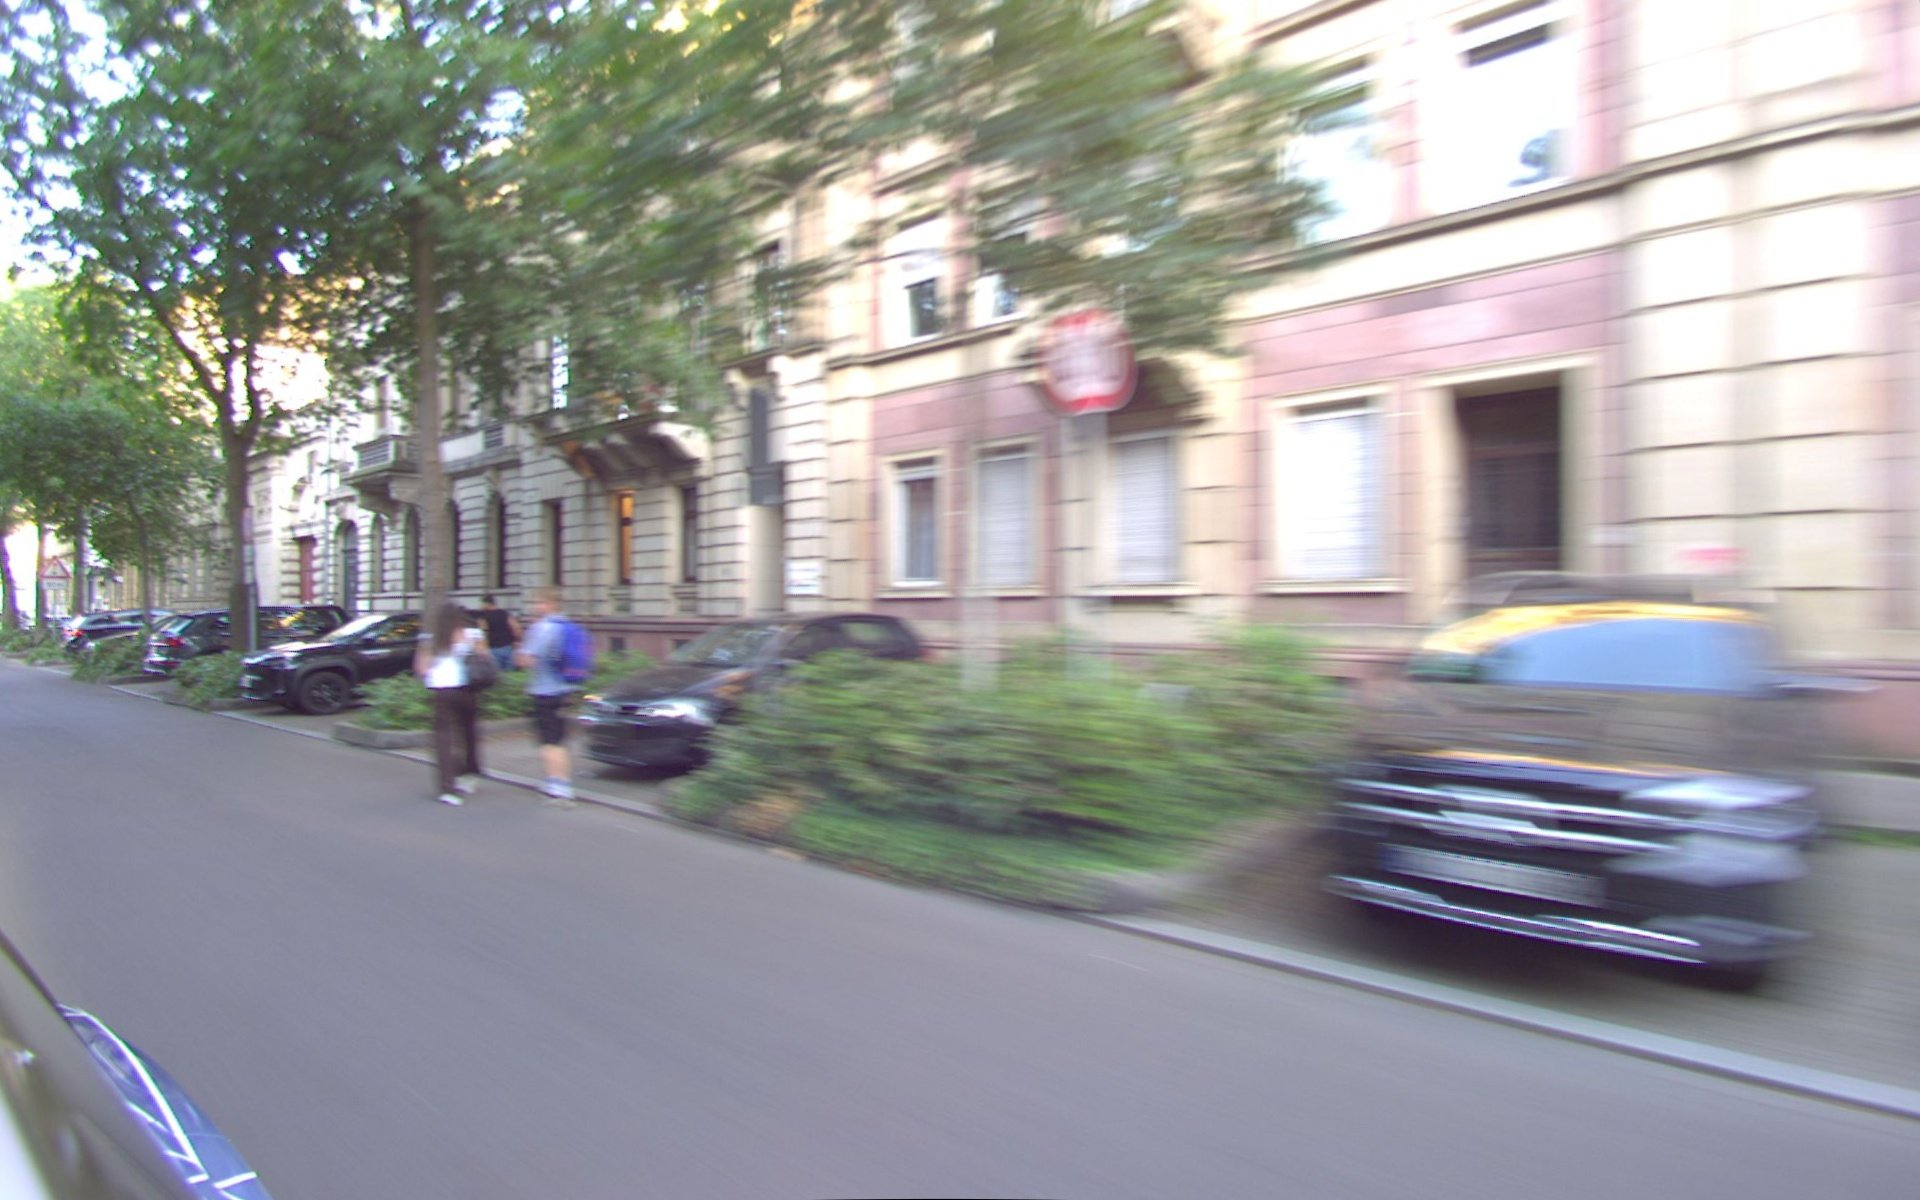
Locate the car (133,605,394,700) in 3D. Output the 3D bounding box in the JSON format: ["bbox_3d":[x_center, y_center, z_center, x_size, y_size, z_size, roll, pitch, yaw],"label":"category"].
[{"bbox_3d":[-14.444,1.012,21.161,1.906,1.684,4.157,-2,0,41],"label":"car"}]

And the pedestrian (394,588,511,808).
[{"bbox_3d":[-4.138,0.763,8.292,0.783,1.683,0.834,1,-2,-25],"label":"pedestrian"}]

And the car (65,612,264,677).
[{"bbox_3d":[-21.277,1.152,27.171,1.764,1.397,3.923,-2,1,42],"label":"car"}]

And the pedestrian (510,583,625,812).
[{"bbox_3d":[-3.219,0.759,8.275,0.783,1.750,0.834,1,-2,-25],"label":"pedestrian"}]

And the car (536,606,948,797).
[{"bbox_3d":[-2.028,0.848,10.167,1.871,1.469,3.654,-2,0,40],"label":"car"}]

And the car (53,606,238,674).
[{"bbox_3d":[-23.778,1.106,29.642,1.780,1.608,3.925,-1,3,41],"label":"car"}]

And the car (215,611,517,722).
[{"bbox_3d":[-9.598,0.974,16.543,1.908,1.544,3.902,-1,0,43],"label":"car"}]

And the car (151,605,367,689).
[{"bbox_3d":[-16.021,1.013,23.275,1.713,1.684,3.762,-2,0,40],"label":"car"}]

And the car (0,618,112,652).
[{"bbox_3d":[-40.515,1.505,44.700,1.916,1.401,4.465,-1,-1,42],"label":"car"}]

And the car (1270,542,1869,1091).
[{"bbox_3d":[3.498,0.643,5.339,1.872,1.663,4.379,-2,0,42],"label":"car"}]

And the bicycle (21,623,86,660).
[{"bbox_3d":[-32.719,1.484,36.541,1.750,1.241,0.500,0,0,-44],"label":"bicycle"}]

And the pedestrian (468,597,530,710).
[{"bbox_3d":[-7.440,0.843,16.343,0.725,1.752,0.672,0,-1,-42],"label":"pedestrian"}]

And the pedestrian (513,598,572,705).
[{"bbox_3d":[-7.085,0.856,17.164,0.725,1.752,0.672,0,-1,-42],"label":"pedestrian"}]

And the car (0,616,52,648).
[{"bbox_3d":[-48.665,1.599,51.036,1.827,1.569,4.124,-1,-1,44],"label":"car"}]
